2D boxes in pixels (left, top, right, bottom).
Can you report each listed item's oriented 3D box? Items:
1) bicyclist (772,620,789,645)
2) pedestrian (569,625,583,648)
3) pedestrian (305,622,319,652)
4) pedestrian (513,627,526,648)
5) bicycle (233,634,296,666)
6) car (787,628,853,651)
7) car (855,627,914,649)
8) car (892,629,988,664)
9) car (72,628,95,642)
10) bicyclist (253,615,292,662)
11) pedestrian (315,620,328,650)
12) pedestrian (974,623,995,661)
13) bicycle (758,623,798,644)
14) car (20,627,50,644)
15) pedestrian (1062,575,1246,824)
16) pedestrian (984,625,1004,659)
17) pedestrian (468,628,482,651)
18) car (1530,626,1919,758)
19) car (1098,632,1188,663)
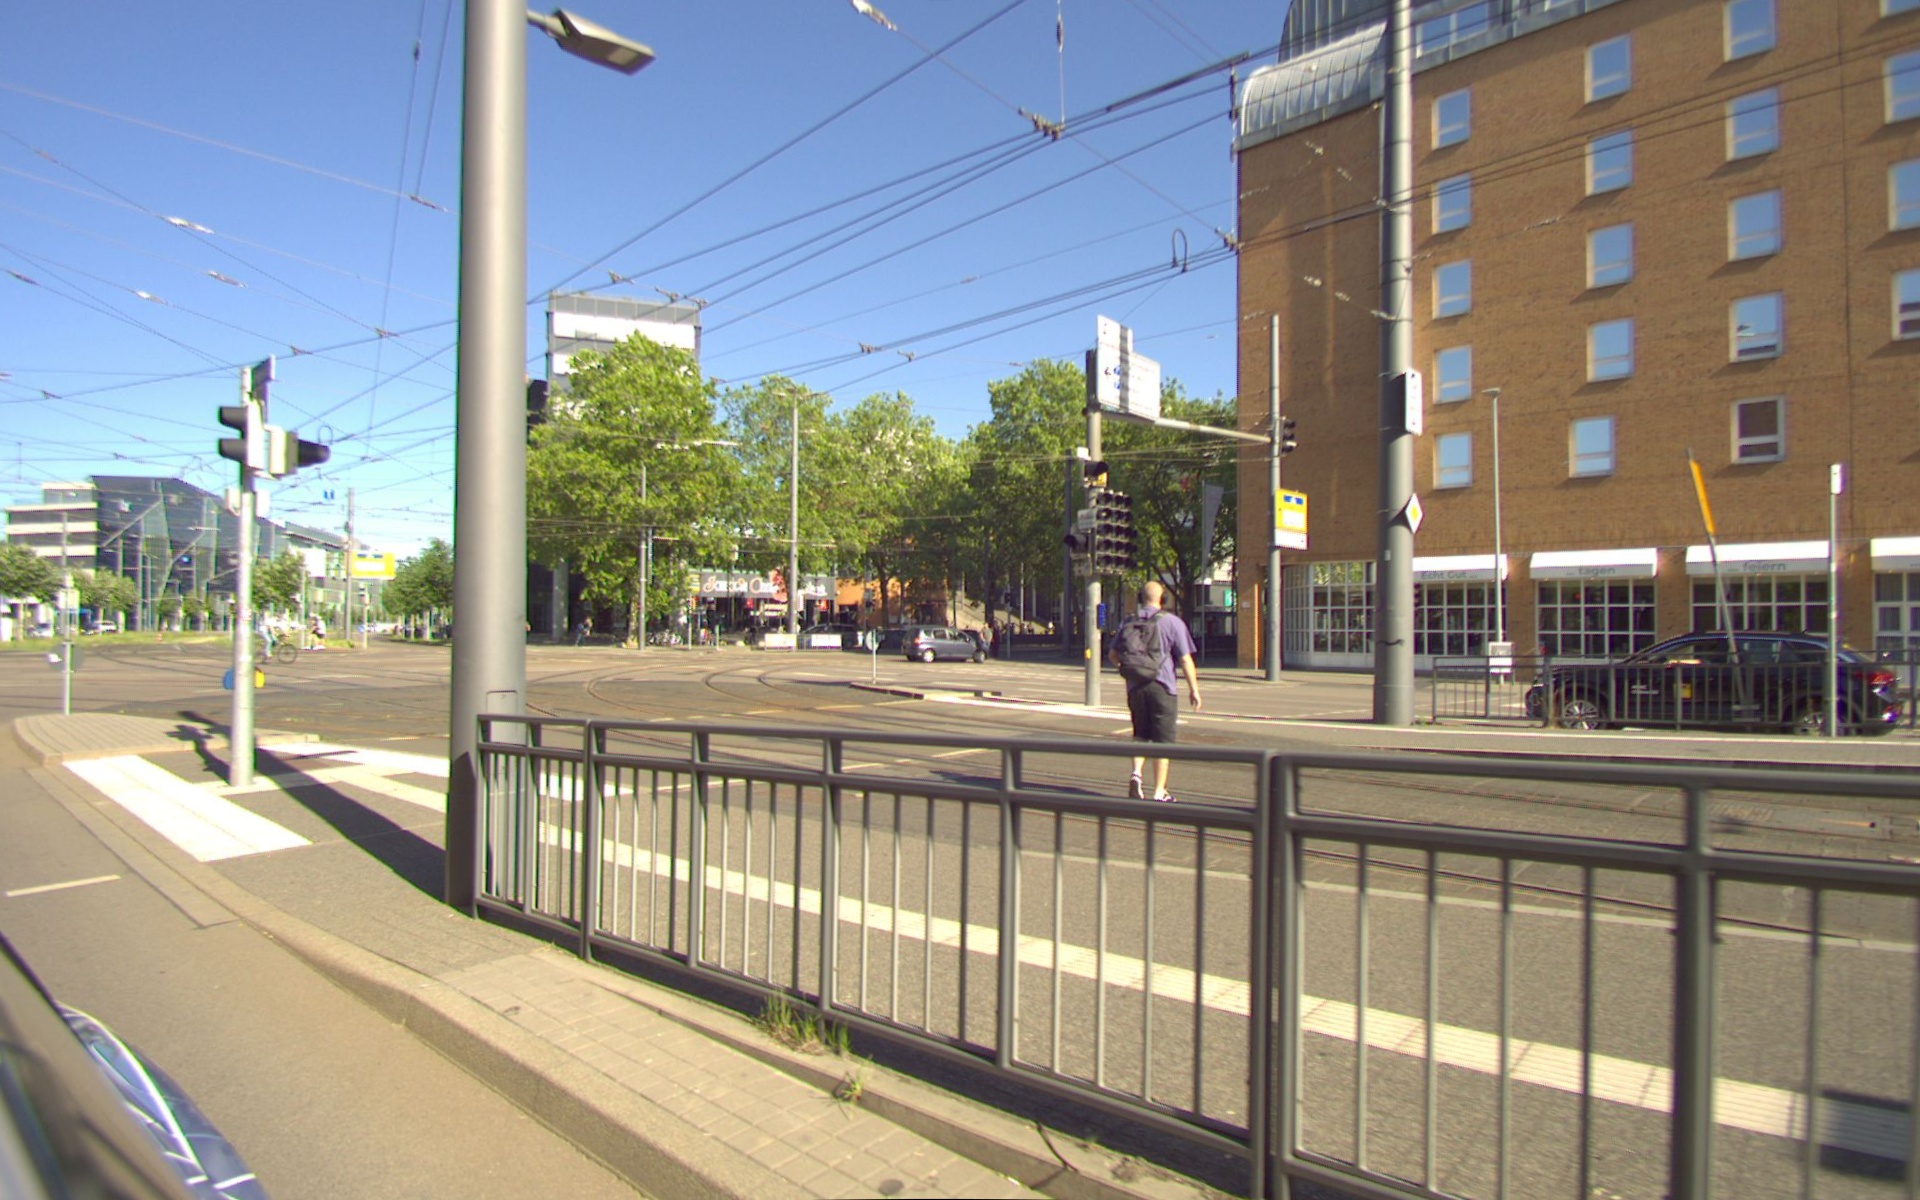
[{"bbox_3d":[-13.303,2.429,75.196,0.913,1.822,0.862,2,-3,-42],"label":"bicyclist"},{"bbox_3d":[-26.806,2.554,70.600,0.768,1.636,0.674,2,-2,-35],"label":"pedestrian"},{"bbox_3d":[-35.582,2.018,55.556,0.572,1.647,0.549,2,-2,-35],"label":"pedestrian"},{"bbox_3d":[-29.663,2.519,68.116,0.653,1.408,0.674,2,-2,-35],"label":"pedestrian"},{"bbox_3d":[-24.829,1.785,36.145,1.816,1.108,0.638,0,-2,1],"label":"bicycle"},{"bbox_3d":[-9.515,2.664,68.834,1.911,1.519,4.112,-2,-3,45],"label":"car"},{"bbox_3d":[-5.416,2.739,72.739,3.941,1.519,1.911,2,-3,-45],"label":"car"},{"bbox_3d":[-0.855,1.949,42.620,3.615,1.421,1.816,1,-2,-28],"label":"car"},{"bbox_3d":[-100.782,3.957,116.400,1.925,1.475,4.007,0,0,-40],"label":"car"},{"bbox_3d":[-24.592,1.363,36.207,0.838,1.652,0.778,0,-2,2],"label":"bicyclist"},{"bbox_3d":[-36.253,2.005,57.447,0.572,1.692,0.549,2,-2,-35],"label":"pedestrian"},{"bbox_3d":[1.123,1.914,46.572,0.636,1.719,0.729,2,-3,-43],"label":"pedestrian"},{"bbox_3d":[-13.492,2.493,75.040,2.804,1.548,0.905,2,-2,-42],"label":"bicycle"},{"bbox_3d":[-89.104,3.402,97.531,1.925,1.475,4.007,0,0,-40],"label":"car"},{"bbox_3d":[1.460,0.697,7.622,1.007,1.702,0.947,-1,-3,44],"label":"pedestrian"},{"bbox_3d":[1.624,1.989,48.049,0.636,1.622,0.729,2,-3,-43],"label":"pedestrian"},{"bbox_3d":[-30.117,2.429,62.816,0.653,1.408,0.674,2,-2,-35],"label":"pedestrian"},{"bbox_3d":[10.310,1.116,13.597,4.289,1.510,1.910,-1,-2,44],"label":"car"},{"bbox_3d":[8.994,2.302,49.593,4.453,1.464,1.776,2,-2,-37],"label":"car"}]
